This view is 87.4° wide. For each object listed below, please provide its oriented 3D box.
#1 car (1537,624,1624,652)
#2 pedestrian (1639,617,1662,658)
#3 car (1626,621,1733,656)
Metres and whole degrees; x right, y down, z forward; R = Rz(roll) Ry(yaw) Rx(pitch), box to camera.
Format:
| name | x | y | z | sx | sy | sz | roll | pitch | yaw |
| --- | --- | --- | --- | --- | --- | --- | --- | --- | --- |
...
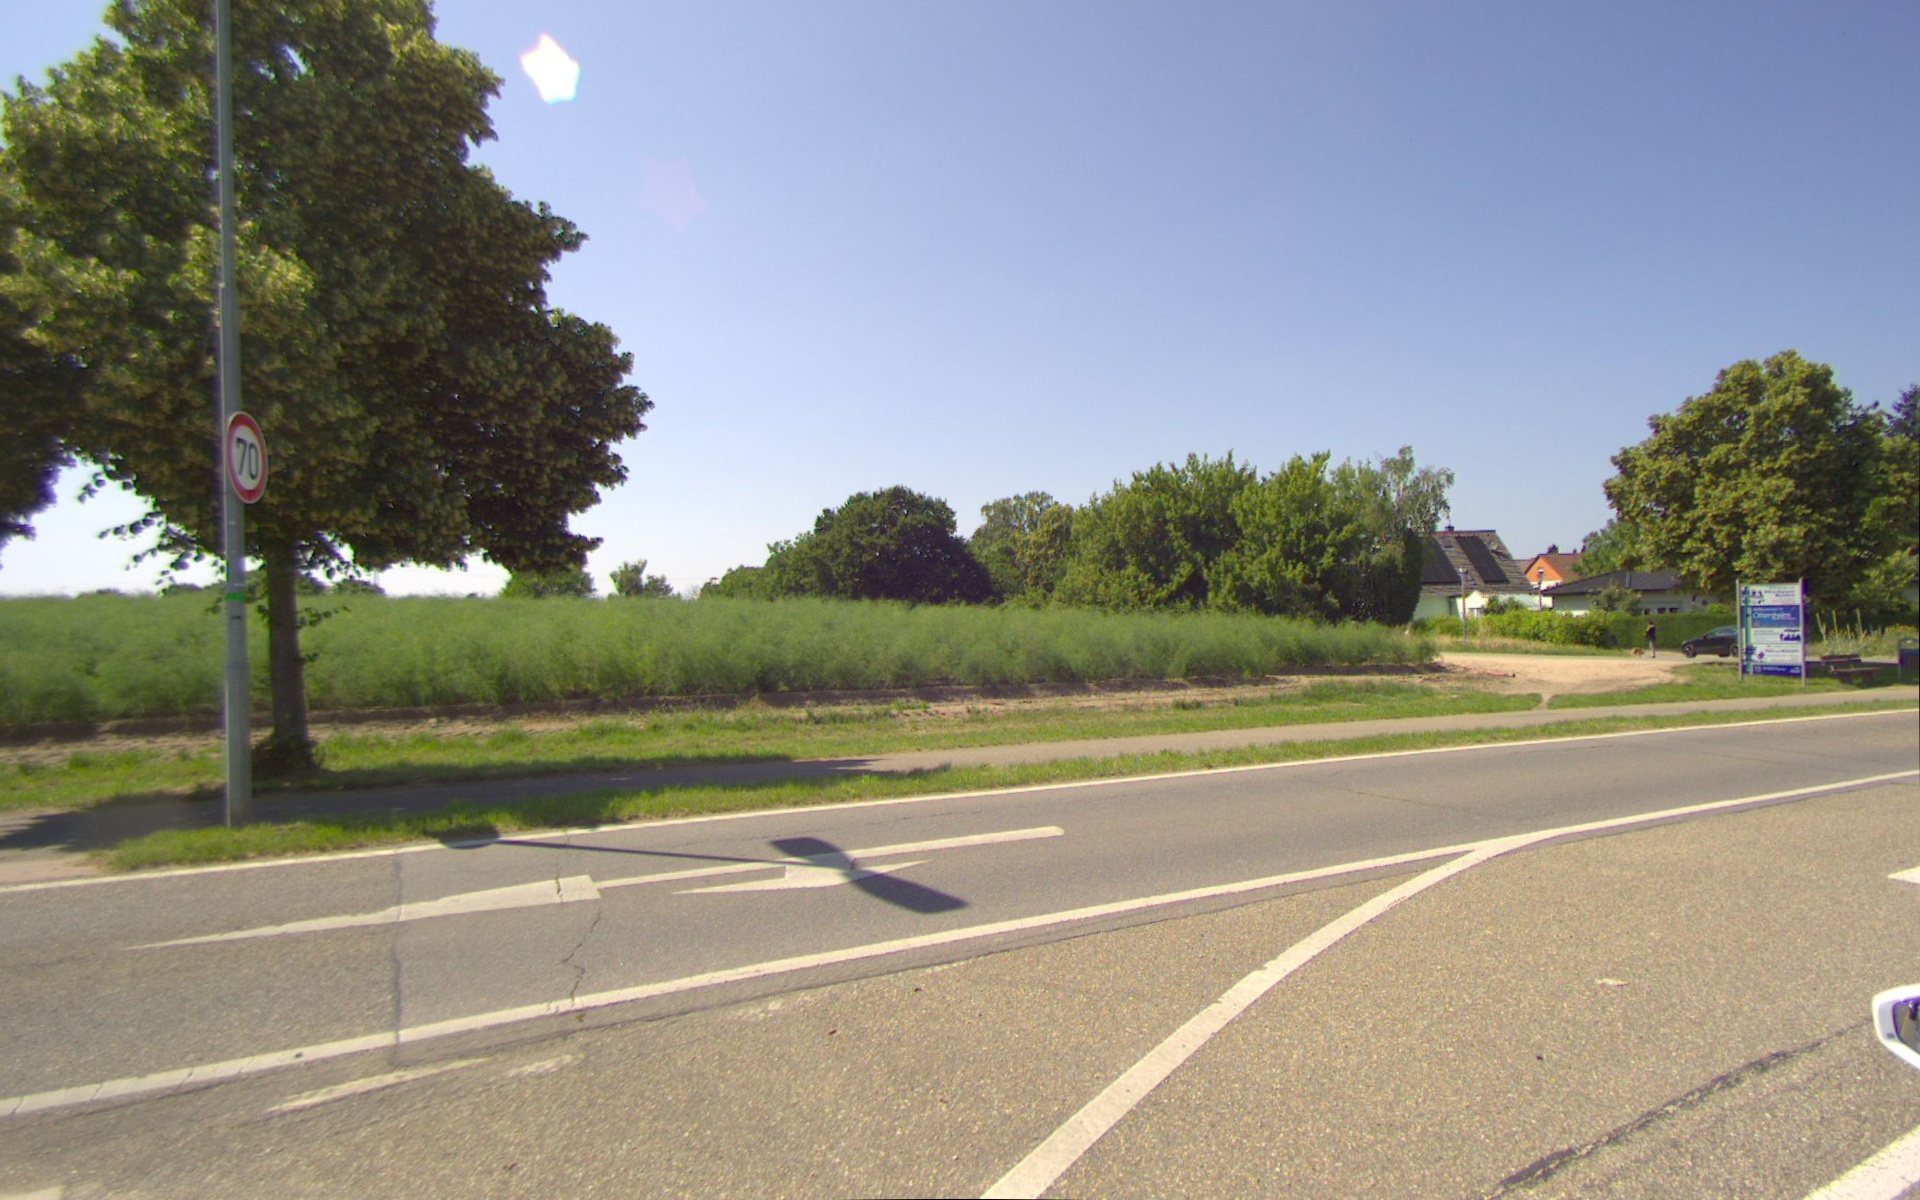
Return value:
| name | x | y | z | sx | sy | sz | roll | pitch | yaw |
| --- | --- | --- | --- | --- | --- | --- | --- | --- | --- |
| car | 36.553 | 2.259 | 59.313 | 1.856 | 1.539 | 3.976 | -2 | -1 | -25 |
| pedestrian | 30.263 | 1.638 | 44.018 | 0.662 | 1.739 | 0.551 | -1 | 0 | 15 |
| car | 33.953 | 1.836 | 47.535 | 1.962 | 1.539 | 4.099 | -1 | -2 | -4 |
